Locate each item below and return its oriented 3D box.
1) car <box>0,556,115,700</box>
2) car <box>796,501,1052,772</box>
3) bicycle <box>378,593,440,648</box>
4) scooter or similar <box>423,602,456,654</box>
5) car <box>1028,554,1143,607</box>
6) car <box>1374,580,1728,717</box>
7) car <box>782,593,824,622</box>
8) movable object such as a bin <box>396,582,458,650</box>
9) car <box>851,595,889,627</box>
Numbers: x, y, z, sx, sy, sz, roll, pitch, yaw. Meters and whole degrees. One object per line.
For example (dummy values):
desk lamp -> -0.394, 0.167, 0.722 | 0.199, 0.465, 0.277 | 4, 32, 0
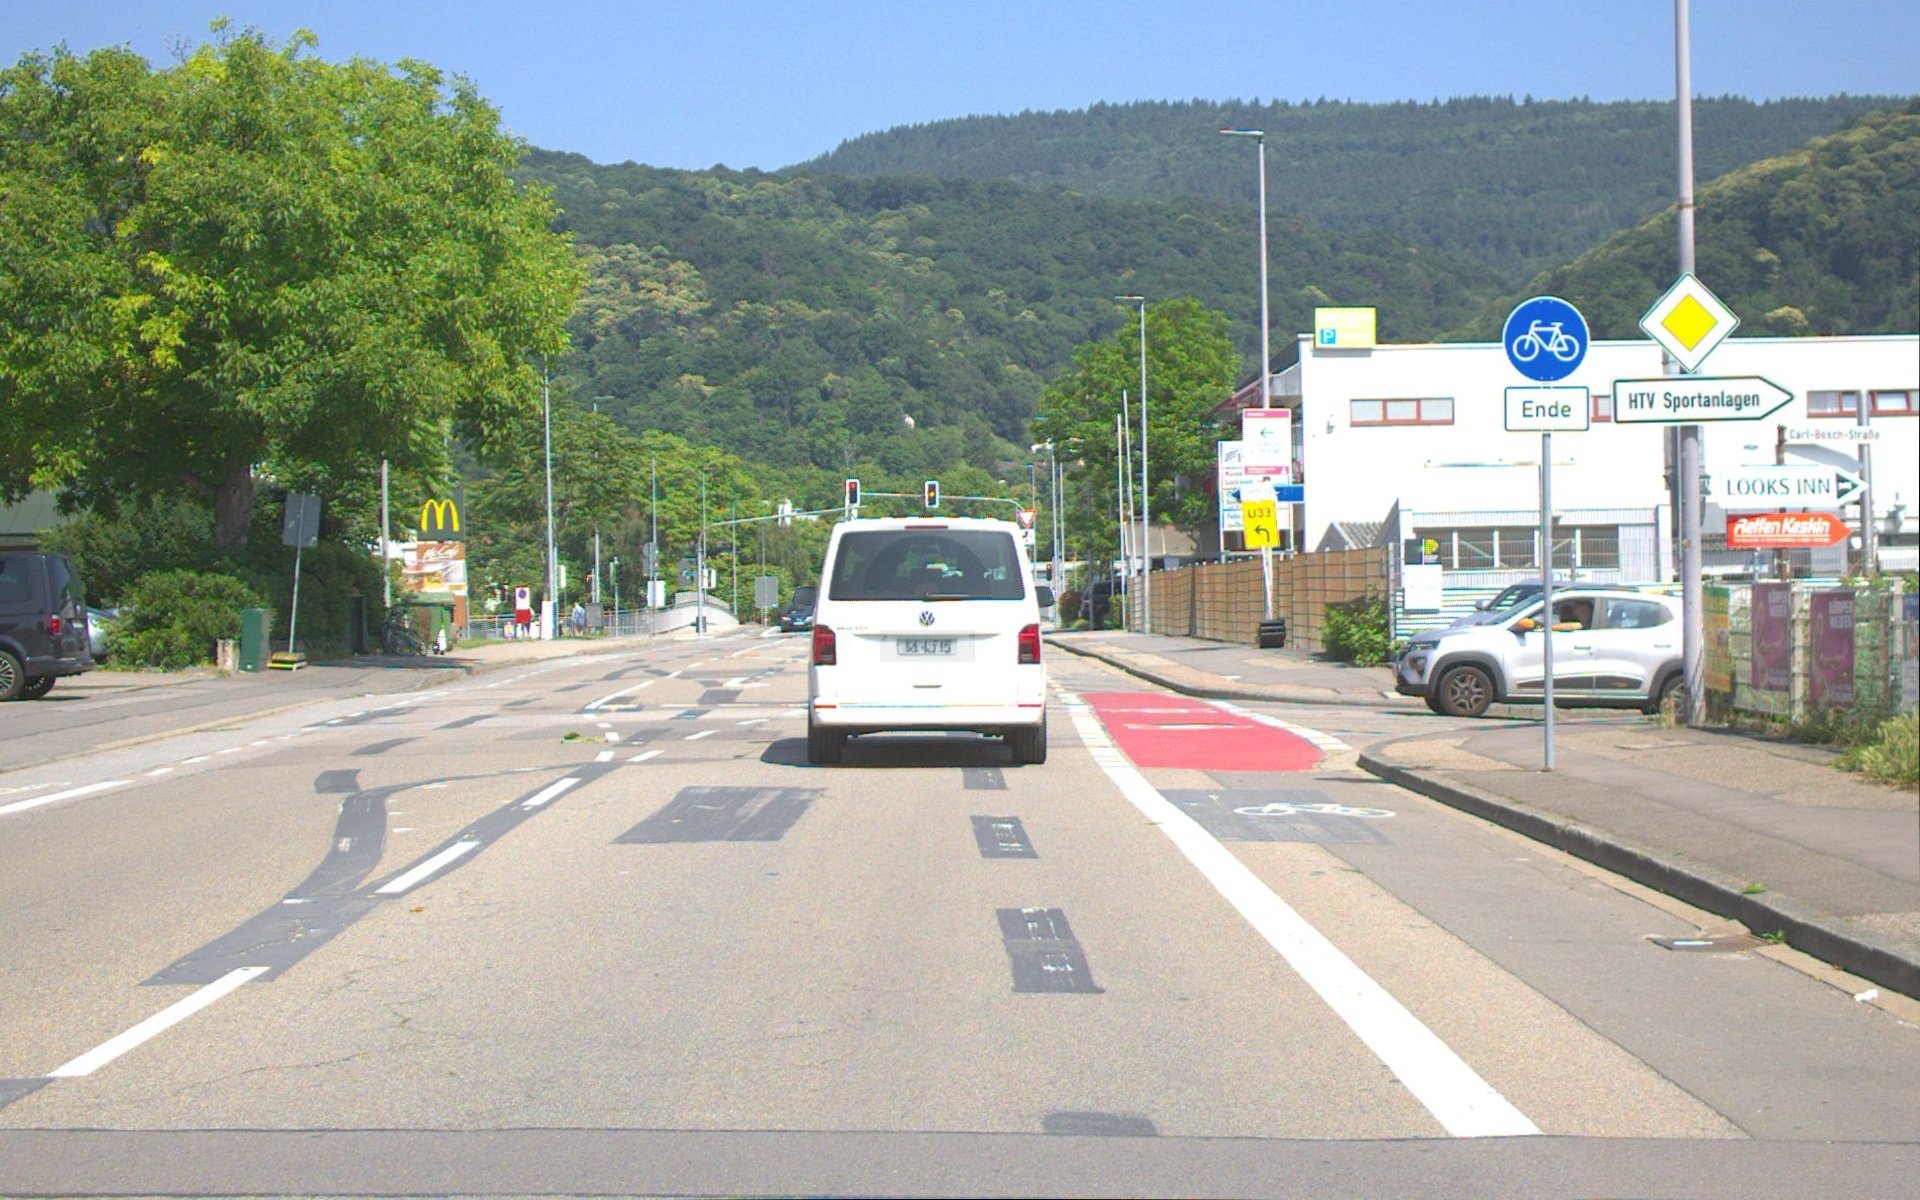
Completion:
car -> -13.613, 0.355, 45.300 | 4.565, 1.859, 2.093 | 0, 0, -5
car -> -0.367, 0.274, 28.642 | 1.934, 2.053, 4.545 | 1, 0, -2
bicycle -> -11.758, 0.425, 73.466 | 1.026, 1.114, 2.766 | 2, 0, -4
scooter or similar -> -11.671, 0.633, 77.168 | 0.646, 1.124, 1.623 | 2, 0, -7
car -> 4.542, -0.702, 123.761 | 3.988, 1.769, 2.000 | -1, 0, 6
car -> 6.495, 0.522, 38.056 | 3.665, 1.479, 1.728 | 0, 0, 2
car -> -7.769, 0.363, 169.810 | 1.993, 1.365, 4.327 | -1, 0, -3
movable object such as a bin -> -12.862, 0.386, 82.927 | 1.447, 1.585, 1.307 | -1, 0, -9
car -> -4.563, 0.552, 174.763 | 1.849, 1.583, 4.000 | -1, 0, 0
